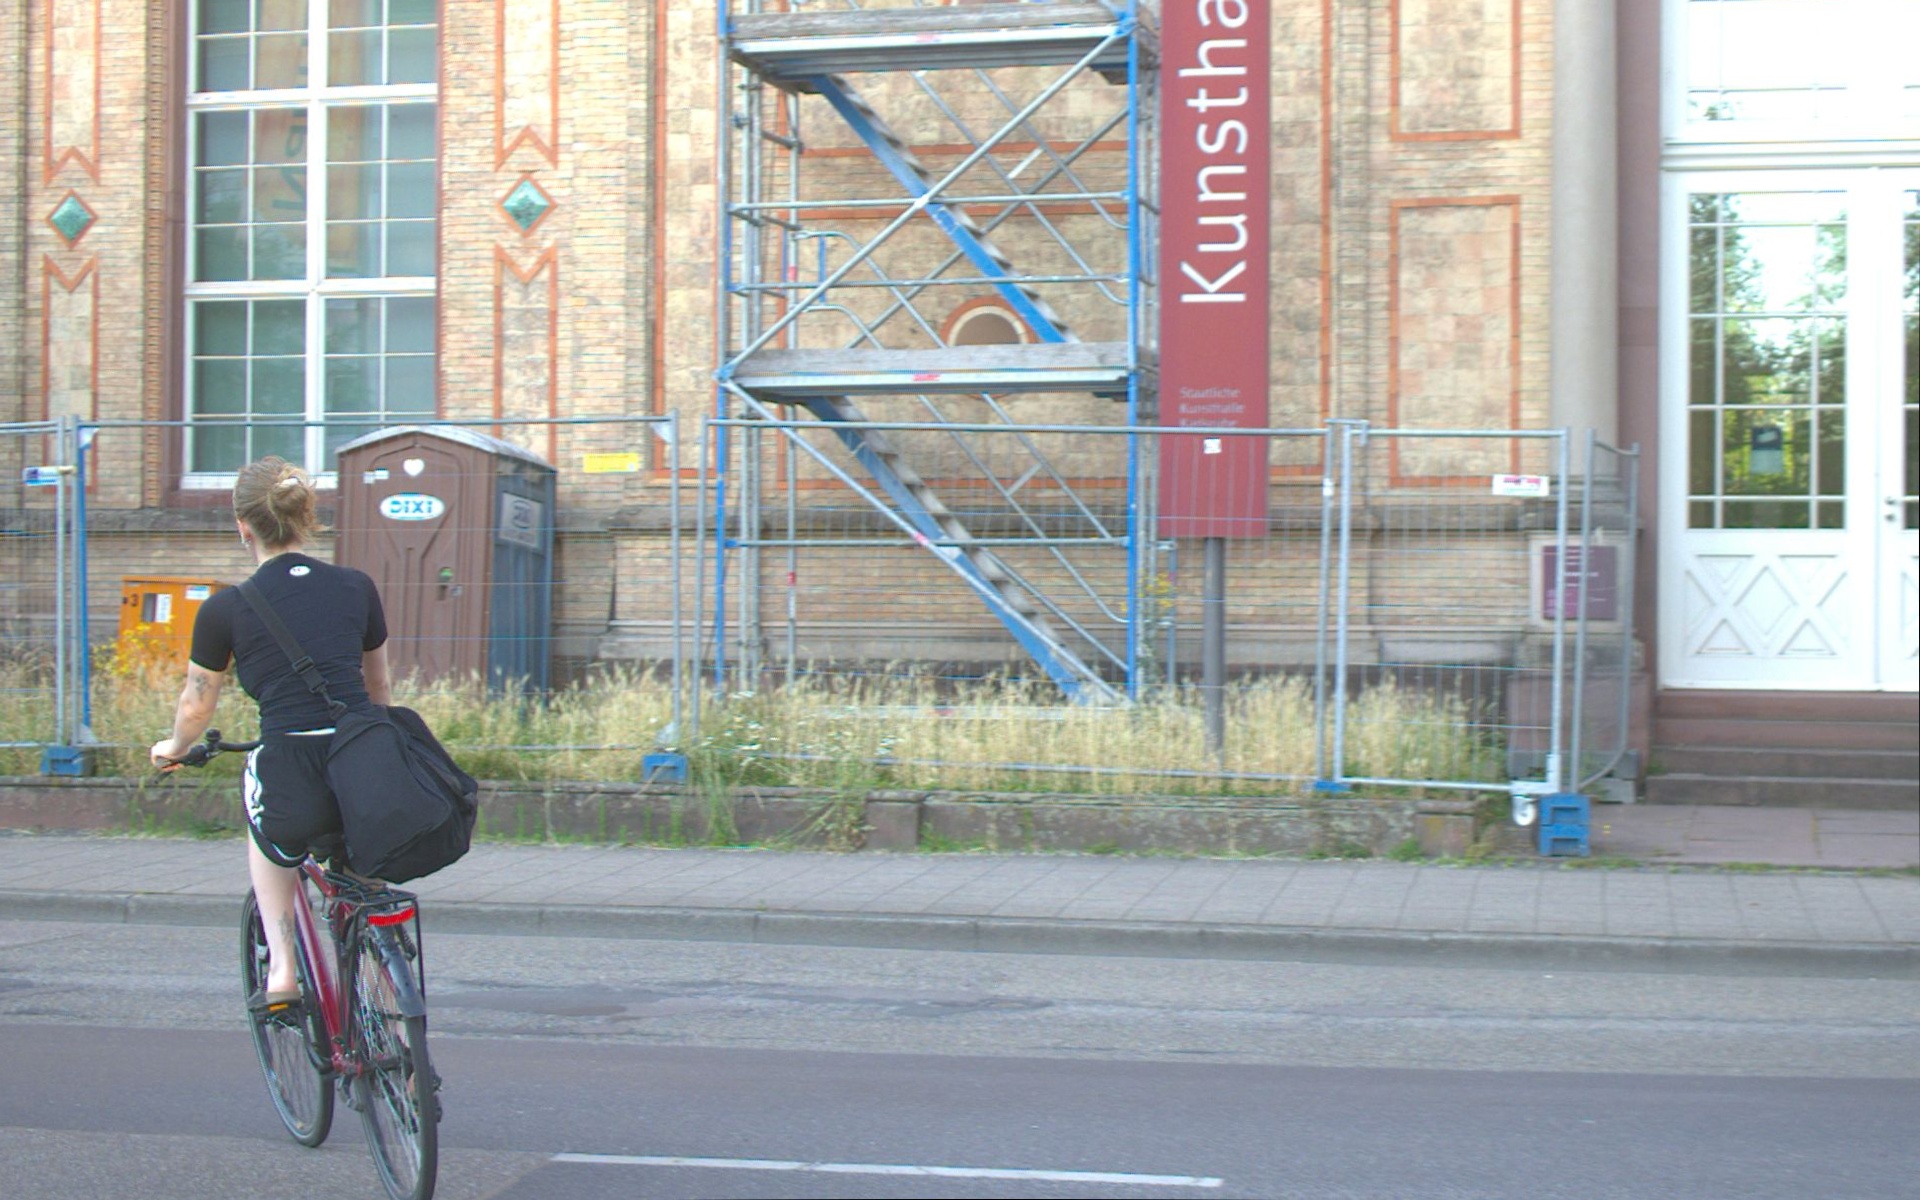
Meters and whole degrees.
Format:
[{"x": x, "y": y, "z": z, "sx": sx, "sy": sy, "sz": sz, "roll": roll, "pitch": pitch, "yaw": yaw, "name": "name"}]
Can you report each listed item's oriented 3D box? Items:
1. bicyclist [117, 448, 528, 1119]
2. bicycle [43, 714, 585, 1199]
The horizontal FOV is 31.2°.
[{"x": -1.538, "y": 0.422, "z": 8.229, "sx": 0.716, "sy": 1.497, "sz": 0.851, "roll": 2, "pitch": -2, "yaw": -28, "name": "bicyclist"}, {"x": -1.634, "y": 0.876, "z": 8.384, "sx": 0.711, "sy": 1.152, "sz": 2.069, "roll": 2, "pitch": -1, "yaw": -27, "name": "bicycle"}]
